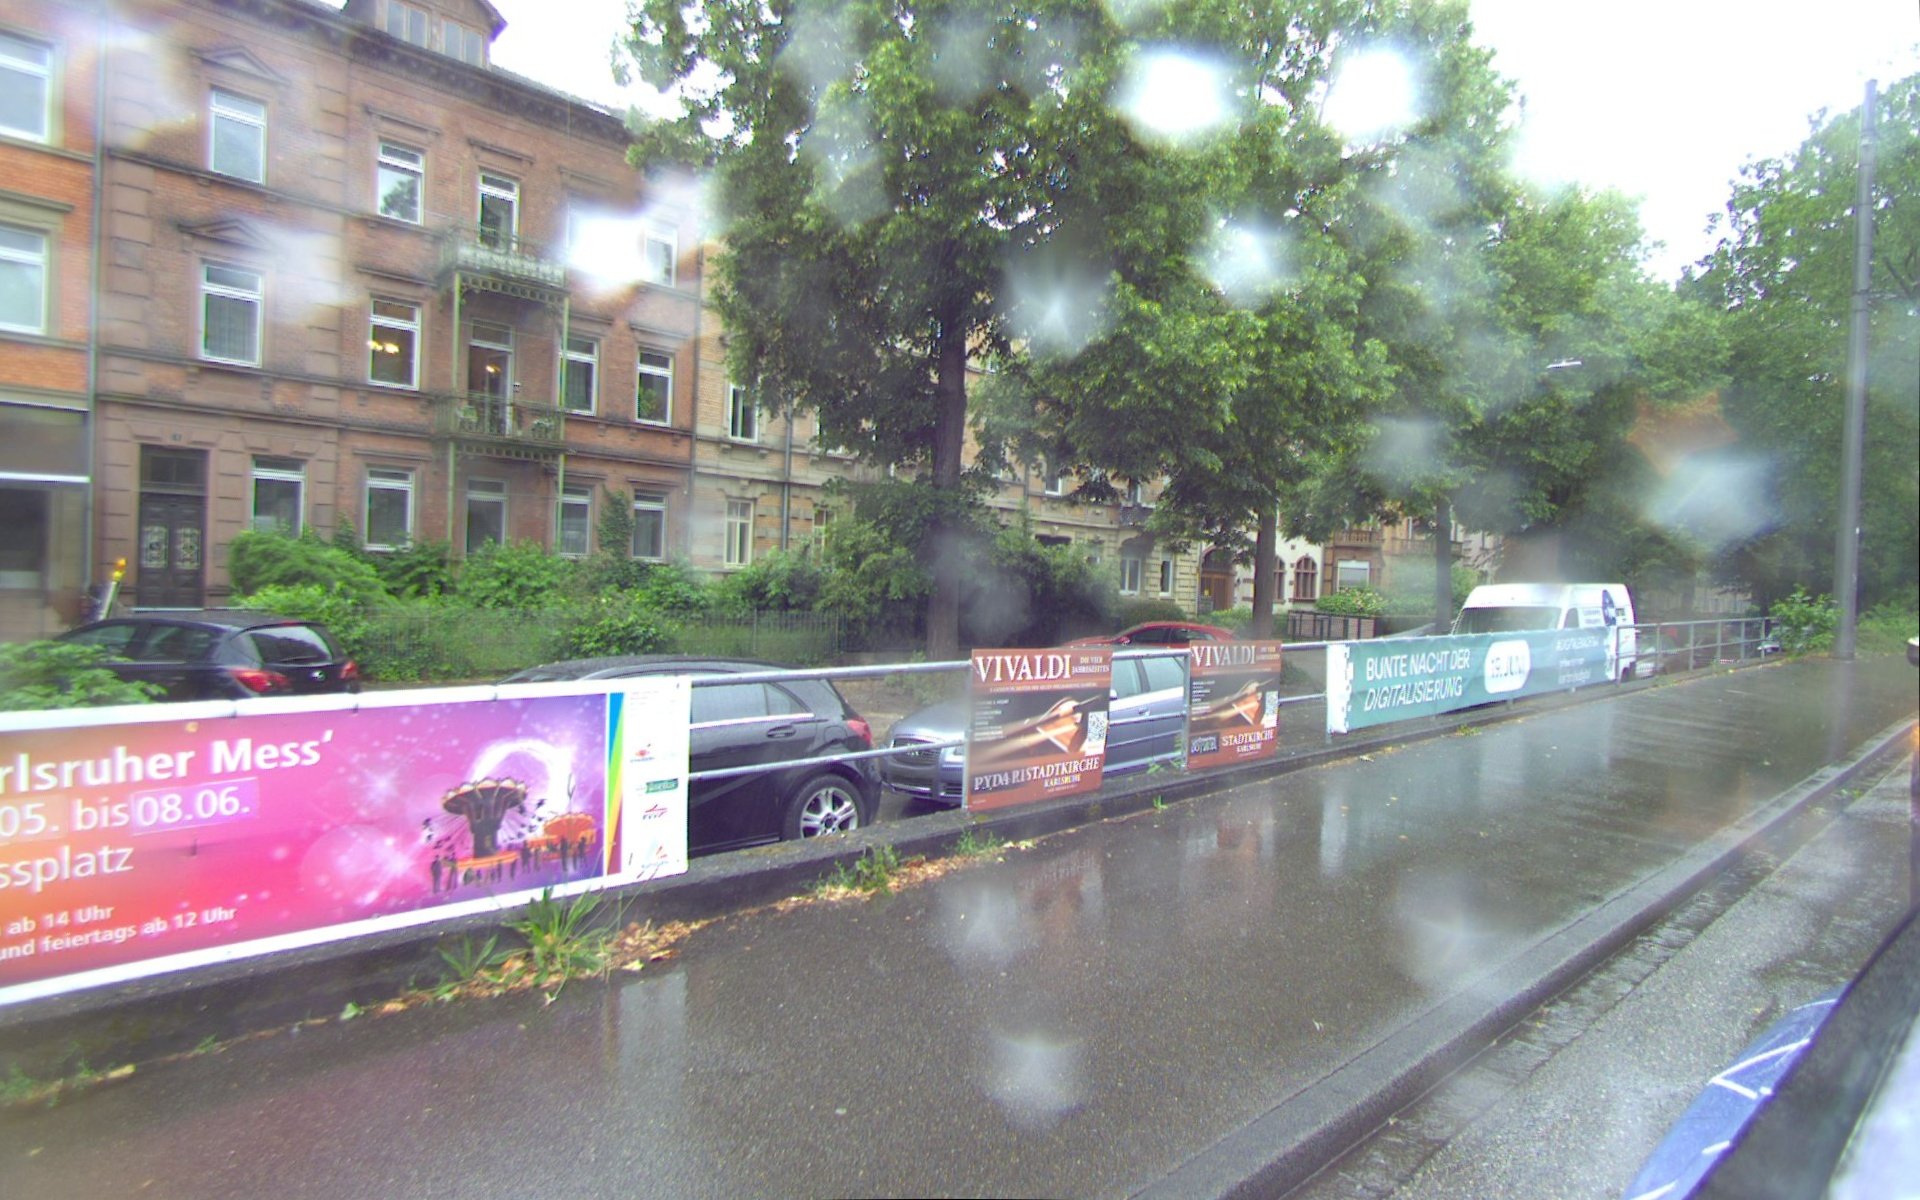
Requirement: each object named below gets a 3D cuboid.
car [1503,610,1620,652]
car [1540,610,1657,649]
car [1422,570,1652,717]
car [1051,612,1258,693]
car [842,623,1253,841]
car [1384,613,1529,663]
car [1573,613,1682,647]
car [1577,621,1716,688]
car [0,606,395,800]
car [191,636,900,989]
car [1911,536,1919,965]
[{"bbox_3d":[25.585,1.284,43.169,3.948,1.629,1.815,1,1,19],"label":"car"},{"bbox_3d":[28.494,1.305,45.290,3.942,1.585,1.991,0,1,15],"label":"car"},{"bbox_3d":[11.358,0.708,19.663,6.055,2.451,2.211,0,0,-43],"label":"car"},{"bbox_3d":[4.384,1.121,22.727,4.372,1.471,1.888,2,1,18],"label":"car"},{"bbox_3d":[0.990,1.058,9.773,4.006,1.559,1.734,0,0,-43],"label":"car"},{"bbox_3d":[16.505,1.233,33.887,4.214,1.397,1.679,2,2,22],"label":"car"},{"bbox_3d":[32.066,1.422,48.726,3.942,1.482,1.904,0,1,15],"label":"car"},{"bbox_3d":[16.616,1.241,24.405,4.312,1.370,1.968,0,0,-44],"label":"car"},{"bbox_3d":[-8.511,0.980,11.276,3.959,1.735,1.982,1,1,26],"label":"car"},{"bbox_3d":[-2.450,1.034,6.519,3.903,1.417,1.706,0,1,-41],"label":"car"},{"bbox_3d":[5.703,0.595,4.467,3.612,1.687,1.755,0,1,-39],"label":"car"}]
